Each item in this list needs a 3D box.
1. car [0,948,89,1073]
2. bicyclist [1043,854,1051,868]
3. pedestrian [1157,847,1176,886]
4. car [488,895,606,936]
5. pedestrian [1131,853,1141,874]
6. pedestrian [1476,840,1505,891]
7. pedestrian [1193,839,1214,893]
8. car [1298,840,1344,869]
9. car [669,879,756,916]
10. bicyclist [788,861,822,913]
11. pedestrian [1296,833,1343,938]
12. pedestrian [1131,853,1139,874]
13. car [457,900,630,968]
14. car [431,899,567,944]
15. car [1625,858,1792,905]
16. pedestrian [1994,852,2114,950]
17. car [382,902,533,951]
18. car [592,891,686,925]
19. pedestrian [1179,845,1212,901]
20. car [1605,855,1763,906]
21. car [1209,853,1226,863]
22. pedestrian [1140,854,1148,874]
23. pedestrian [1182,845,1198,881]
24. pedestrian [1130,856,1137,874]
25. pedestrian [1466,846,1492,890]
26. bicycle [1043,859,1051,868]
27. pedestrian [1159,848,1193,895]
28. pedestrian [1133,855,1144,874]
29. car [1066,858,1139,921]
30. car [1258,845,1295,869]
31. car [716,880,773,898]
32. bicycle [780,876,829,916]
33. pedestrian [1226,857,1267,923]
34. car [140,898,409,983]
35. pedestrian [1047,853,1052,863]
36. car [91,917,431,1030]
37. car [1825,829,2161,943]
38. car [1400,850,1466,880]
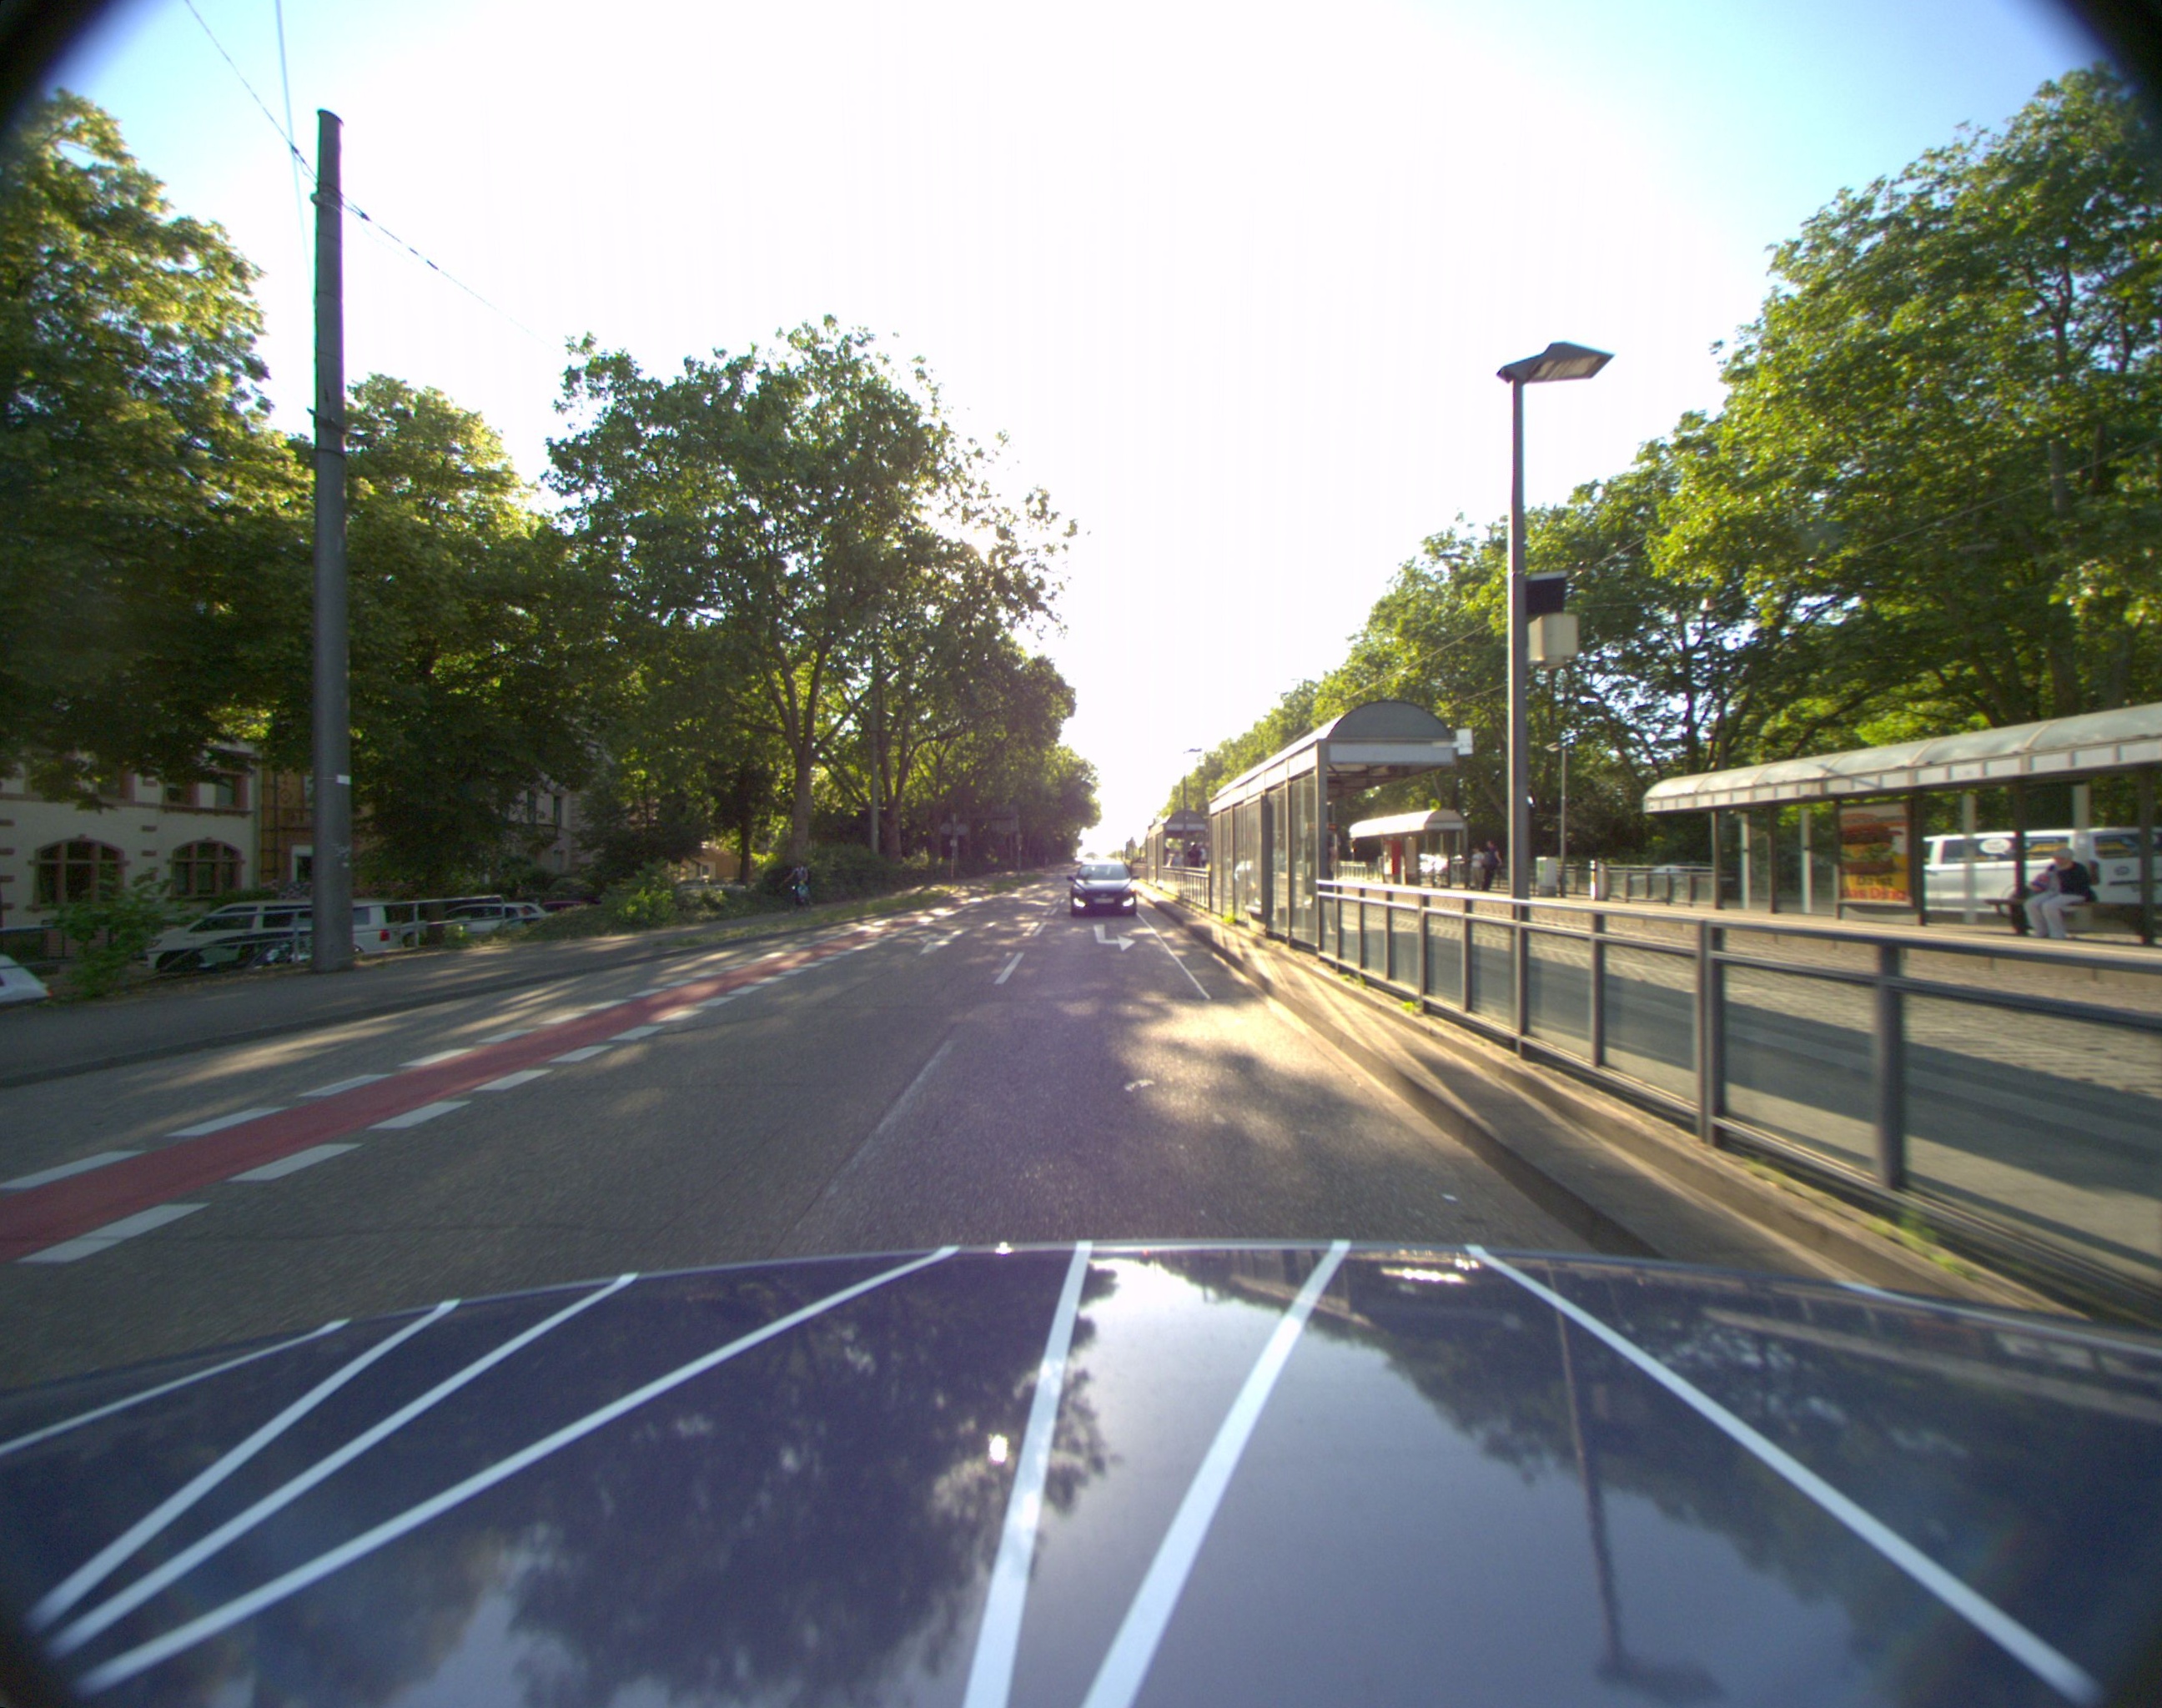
[{"bbox_3d":[-14.278,2.038,8.422,1.799,1.433,3.576,-2,1,-1],"label":"car"},{"bbox_3d":[-4.216,0.817,94.292,0.700,1.718,1.081,0,0,9],"label":"bicyclist"},{"bbox_3d":[3.811,0.533,33.919,0.744,1.684,0.791,-2,1,2],"label":"pedestrian"},{"bbox_3d":[-22.807,2.594,32.648,4.007,1.501,1.796,1,-1,-31],"label":"car"},{"bbox_3d":[4.189,0.739,57.676,0.520,1.559,0.509,2,1,31],"label":"pedestrian"},{"bbox_3d":[14.343,0.388,26.599,0.649,1.762,0.650,-2,1,3],"label":"pedestrian"},{"bbox_3d":[4.301,0.410,26.721,0.652,1.831,0.711,-2,1,11],"label":"pedestrian"},{"bbox_3d":[21.806,0.009,69.340,2.189,2.506,6.031,1,1,-1],"label":"car"},{"bbox_3d":[-21.659,2.497,44.653,4.471,2.002,1.992,1,-1,-29],"label":"car"},{"bbox_3d":[-8.224,0.979,22.648,0.768,1.504,0.650,-1,1,0],"label":"bicyclist"},{"bbox_3d":[3.871,0.500,12.348,0.596,1.668,0.589,-1,1,6],"label":"pedestrian"},{"bbox_3d":[4.055,0.706,57.000,0.591,1.511,0.514,2,1,2],"label":"pedestrian"},{"bbox_3d":[-14.255,2.061,20.480,1.799,1.301,3.999,-2,1,-1],"label":"car"},{"bbox_3d":[-22.520,2.568,29.619,4.007,1.501,1.796,1,-1,-31],"label":"car"},{"bbox_3d":[20.059,0.812,24.581,1.774,1.284,4.314,1,1,-1],"label":"car"},{"bbox_3d":[13.766,0.639,10.772,0.671,1.317,0.757,2,1,-1],"label":"pedestrian"},{"bbox_3d":[-21.794,2.512,26.773,3.933,1.443,1.685,1,-1,-33],"label":"car"},{"bbox_3d":[-22.288,2.694,38.422,4.007,1.501,1.796,1,-1,-31],"label":"car"},{"bbox_3d":[3.554,0.592,23.695,0.654,1.712,0.708,-3,1,-35],"label":"pedestrian"},{"bbox_3d":[20.202,0.830,25.735,1.799,1.501,4.340,1,1,-1],"label":"car"},{"bbox_3d":[21.161,0.567,117.875,1.743,1.428,3.851,1,1,-1],"label":"car"},{"bbox_3d":[4.761,0.733,57.148,0.521,1.464,0.514,2,1,2],"label":"pedestrian"},{"bbox_3d":[4.866,0.400,33.976,0.589,1.558,0.650,-2,1,2],"label":"pedestrian"},{"bbox_3d":[3.904,0.828,56.463,0.417,1.313,0.359,2,1,1],"label":"pedestrian"},{"bbox_3d":[14.345,0.490,27.412,0.594,1.535,0.626,-2,1,1],"label":"pedestrian"},{"bbox_3d":[-4.210,1.214,94.295,0.700,1.101,1.931,0,0,9],"label":"bicycle"},{"bbox_3d":[3.405,0.624,27.205,0.800,1.624,0.868,-2,0,39],"label":"pedestrian"},{"bbox_3d":[4.203,0.789,55.912,0.592,1.398,0.558,1,1,-19],"label":"pedestrian"},{"bbox_3d":[0.578,0.915,21.321,1.799,1.501,4.000,-2,0,1],"label":"car"},{"bbox_3d":[21.629,0.309,84.288,2.189,2.506,6.269,1,1,-2],"label":"car"},{"bbox_3d":[-29.350,3.049,66.309,4.147,1.500,1.802,-1,-3,6],"label":"car"},{"bbox_3d":[-8.229,1.225,22.681,0.768,1.101,1.800,-1,0,1],"label":"bicycle"},{"bbox_3d":[3.369,0.725,15.503,0.680,1.301,0.593,-1,1,2],"label":"pedestrian"},{"bbox_3d":[-21.725,2.252,20.803,4.691,1.954,1.868,1,-1,-31],"label":"car"},{"bbox_3d":[-4.884,0.651,119.024,0.649,1.626,0.928,2,1,2],"label":"pedestrian"},{"bbox_3d":[-14.436,2.021,13.791,1.799,1.301,3.999,-2,1,-1],"label":"car"},{"bbox_3d":[19.996,0.571,16.761,2.072,2.112,5.089,1,1,-1],"label":"car"},{"bbox_3d":[20.687,0.635,44.880,1.908,1.642,3.971,1,1,-2],"label":"car"}]
